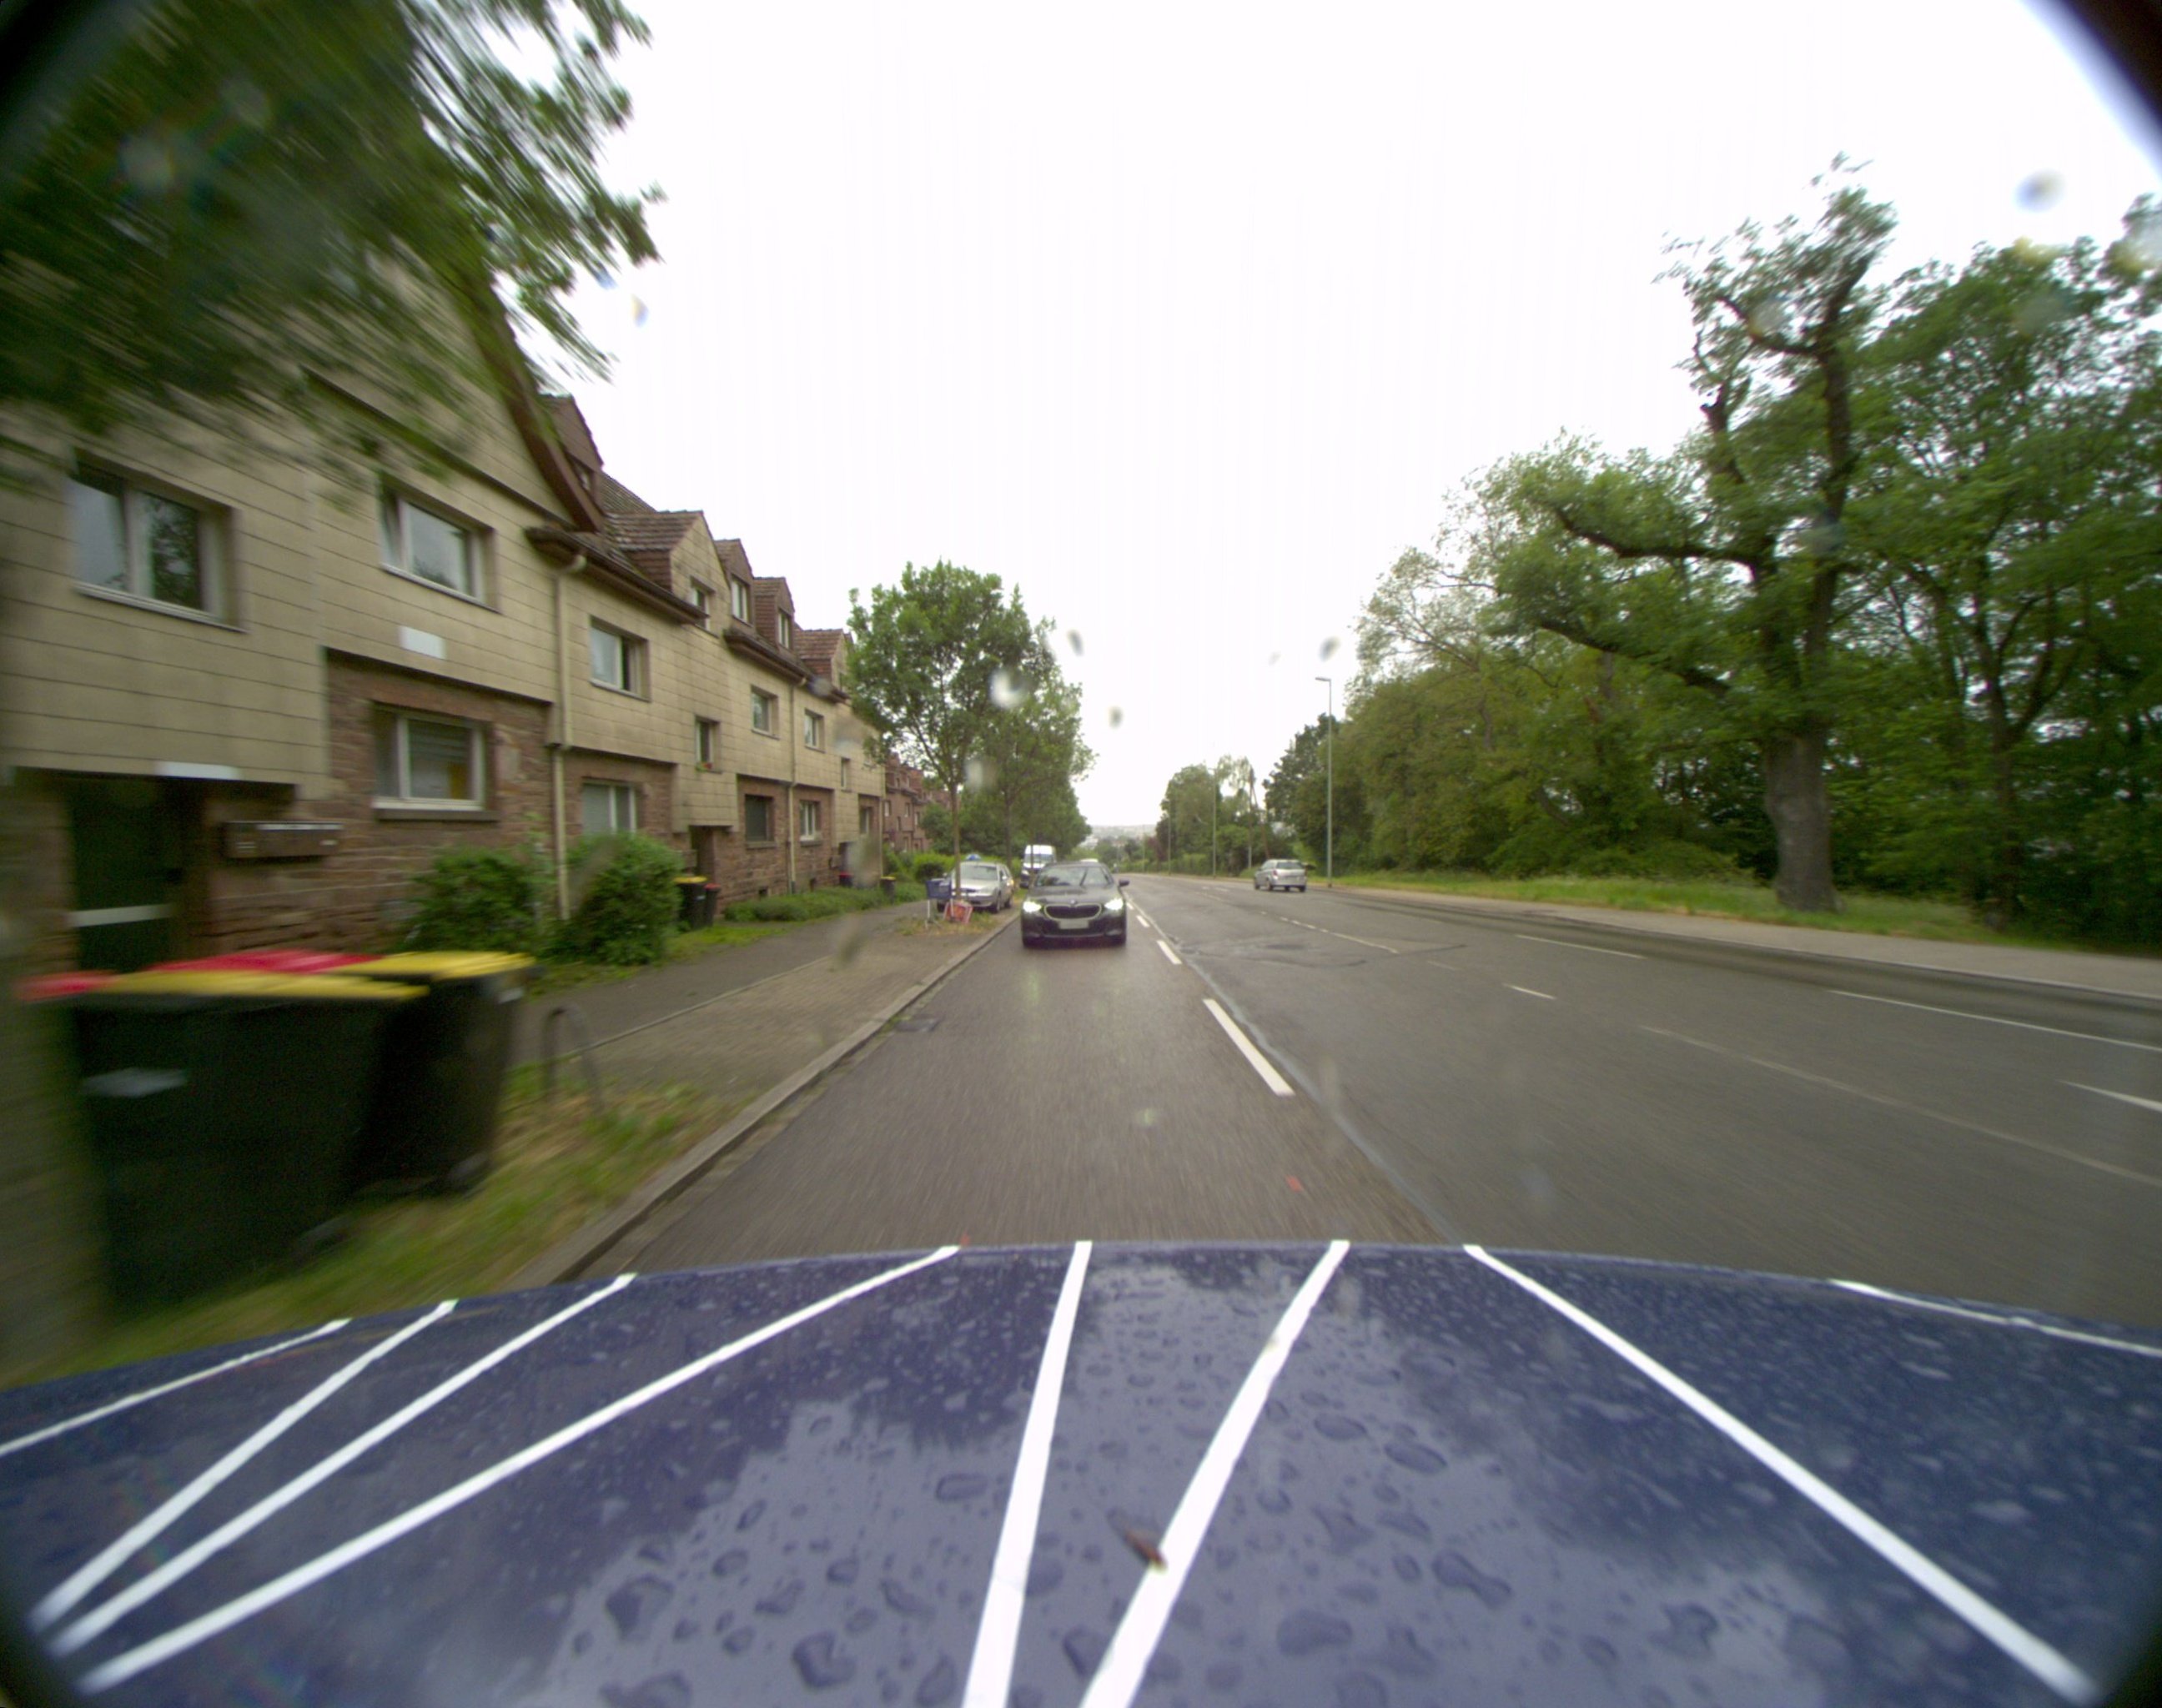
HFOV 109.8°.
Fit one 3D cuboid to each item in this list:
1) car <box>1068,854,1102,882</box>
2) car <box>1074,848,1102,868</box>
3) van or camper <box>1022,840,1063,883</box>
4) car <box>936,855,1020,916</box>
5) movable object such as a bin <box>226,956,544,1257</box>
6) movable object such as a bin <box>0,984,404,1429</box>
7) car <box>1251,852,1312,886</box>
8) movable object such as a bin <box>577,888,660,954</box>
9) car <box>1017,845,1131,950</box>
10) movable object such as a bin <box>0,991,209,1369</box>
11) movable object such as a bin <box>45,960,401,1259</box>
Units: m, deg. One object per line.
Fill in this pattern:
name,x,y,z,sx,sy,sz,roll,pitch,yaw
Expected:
car,0.214,0.863,47.021,1.999,1.674,4.174,0,-1,-1
car,0.521,0.345,63.866,1.999,1.674,4.172,0,-1,-5
van or camper,-2.499,0.501,51.256,2.203,2.635,7.302,1,-1,1
car,-2.983,0.895,23.027,1.706,1.575,4.644,3,-1,2
movable object such as a bin,-2.970,1.029,3.337,0.621,1.044,0.822,2,0,-2
movable object such as a bin,-2.856,1.015,2.437,0.621,1.044,0.822,2,0,-2
car,9.442,0.675,36.180,1.694,1.474,4.451,1,0,0
movable object such as a bin,-7.358,1.042,12.126,0.702,0.959,0.941,-2,0,1
car,-0.113,0.718,14.997,1.829,1.668,4.295,-4,1,0
movable object such as a bin,-3.597,1.040,2.441,0.621,1.044,0.822,2,0,-2
movable object such as a bin,-3.702,1.055,3.365,0.621,1.044,0.822,2,0,-2
